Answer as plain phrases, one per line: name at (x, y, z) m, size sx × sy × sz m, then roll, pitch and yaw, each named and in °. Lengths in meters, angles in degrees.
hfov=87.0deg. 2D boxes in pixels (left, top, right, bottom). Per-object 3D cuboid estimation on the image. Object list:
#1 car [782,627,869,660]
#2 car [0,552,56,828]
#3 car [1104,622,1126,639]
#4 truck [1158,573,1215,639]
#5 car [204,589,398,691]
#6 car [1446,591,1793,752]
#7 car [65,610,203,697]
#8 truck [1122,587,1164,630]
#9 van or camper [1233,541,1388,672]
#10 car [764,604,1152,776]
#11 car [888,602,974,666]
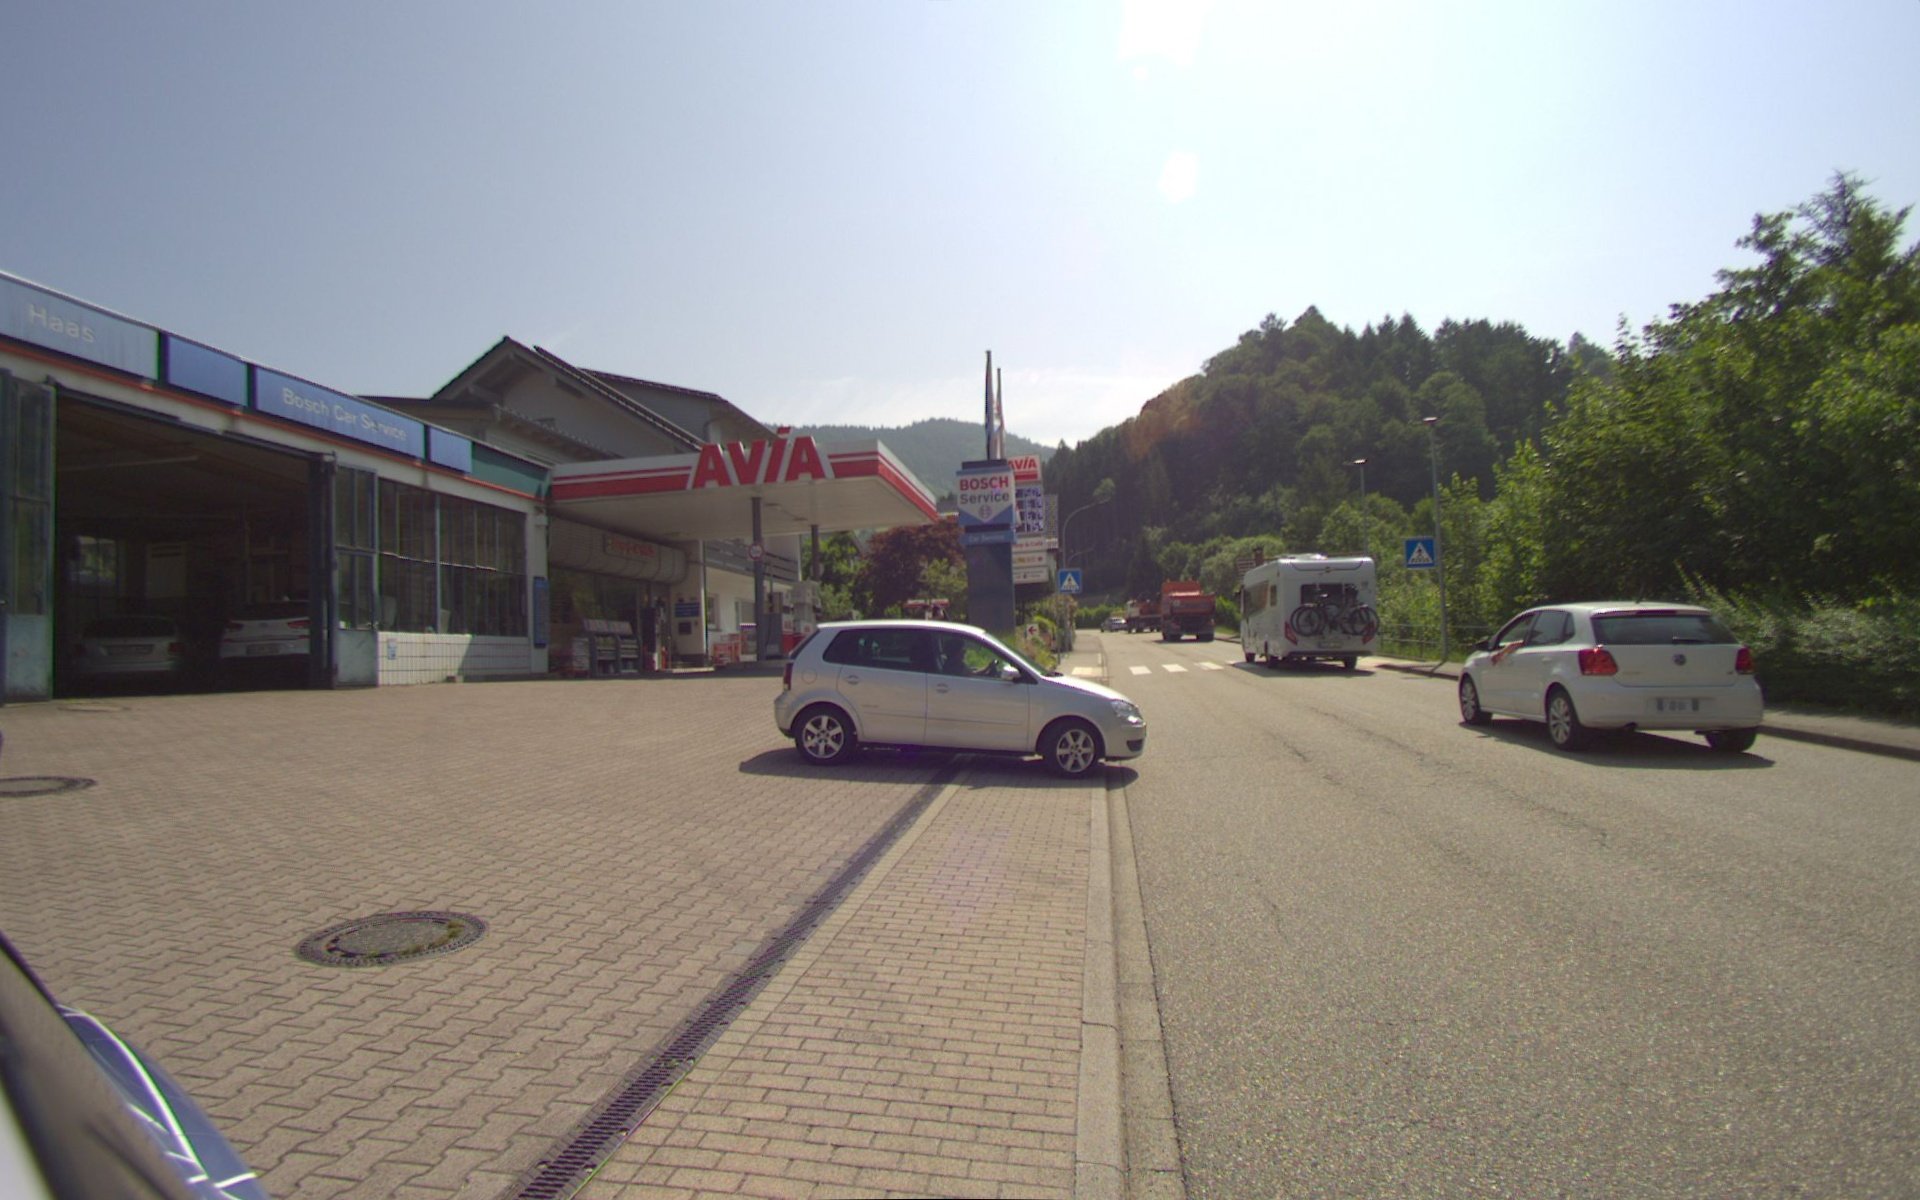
car at (-5.134, 1.656, 38.676) m, size 3.046 × 1.153 × 1.332 m, roll 1°, pitch -1°, yaw 7°
car at (-7.551, 0.467, 5.181) m, size 4.272 × 1.556 × 1.799 m, roll 1°, pitch 0°, yaw 1°
car at (15.473, 3.018, 101.214) m, size 1.765 × 1.586 × 3.595 m, roll 1°, pitch -1°, yaw 2°
truck at (13.399, 0.417, 60.393) m, size 2.622 × 3.609 × 8.172 m, roll -1°, pitch -1°, yaw 8°
car at (-12.201, 0.706, 19.038) m, size 1.580 × 1.701 × 3.938 m, roll 1°, pitch -1°, yaw -9°
car at (6.763, 0.672, 10.906) m, size 1.591 × 1.416 × 3.818 m, roll -1°, pitch -1°, yaw 7°
car at (-15.136, 1.034, 18.709) m, size 1.522 × 1.417 × 3.488 m, roll 1°, pitch -5°, yaw -32°
truck at (16.181, 0.791, 89.854) m, size 2.618 × 3.609 × 7.765 m, roll -1°, pitch -1°, yaw 3°
van or camper at (9.180, 0.303, 27.438) m, size 2.338 × 2.975 × 8.030 m, roll -2°, pitch -2°, yaw 8°
car at (0.013, 0.859, 10.537) m, size 3.710 × 1.493 × 1.593 m, roll 2°, pitch -1°, yaw 6°
car at (-0.723, 0.904, 27.769) m, size 1.678 × 1.589 × 3.900 m, roll 1°, pitch -1°, yaw 9°
